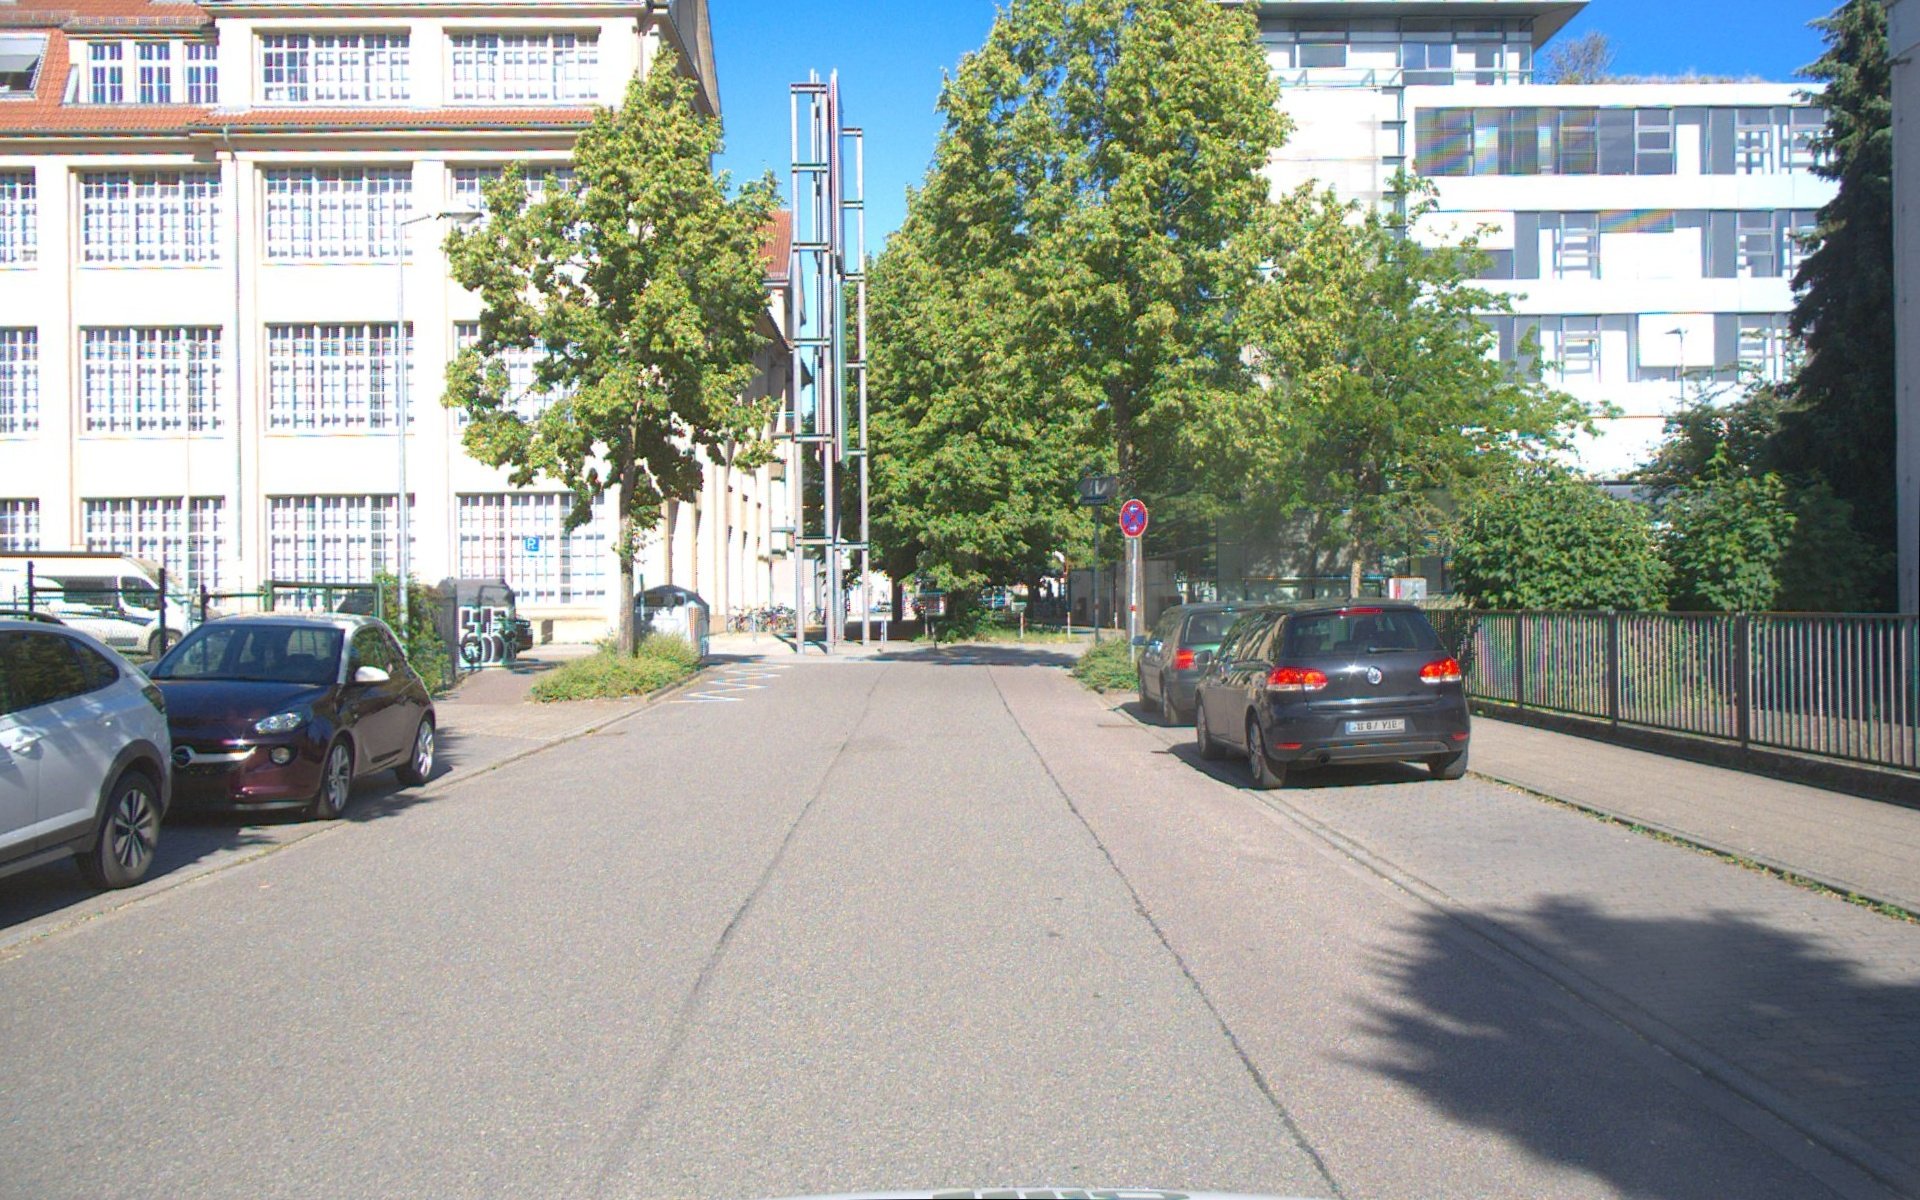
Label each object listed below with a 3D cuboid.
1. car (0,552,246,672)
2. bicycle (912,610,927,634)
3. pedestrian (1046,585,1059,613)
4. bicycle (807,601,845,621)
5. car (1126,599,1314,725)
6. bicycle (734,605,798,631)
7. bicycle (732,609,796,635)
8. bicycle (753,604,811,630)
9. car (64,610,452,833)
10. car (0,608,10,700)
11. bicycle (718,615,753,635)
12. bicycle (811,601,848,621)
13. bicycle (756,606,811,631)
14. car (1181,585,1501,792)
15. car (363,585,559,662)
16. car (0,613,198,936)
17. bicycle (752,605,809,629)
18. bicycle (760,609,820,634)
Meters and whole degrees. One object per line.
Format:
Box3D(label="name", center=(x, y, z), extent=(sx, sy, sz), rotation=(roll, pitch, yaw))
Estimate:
Box3D(label="car", center=(-20.268, 0.283, 38.684), extent=(6.137, 2.642, 2.164), rotation=(-1, 0, -3))
Box3D(label="bicycle", center=(-2.112, 1.121, 86.024), extent=(0.607, 1.218, 2.129), rotation=(-1, 0, -6))
Box3D(label="pedestrian", center=(5.277, -0.063, 94.546), extent=(0.701, 1.577, 0.690), rotation=(-1, 0, 5))
Box3D(label="bicycle", center=(-7.400, 0.608, 91.499), extent=(2.015, 1.085, 0.507), rotation=(-1, 0, 1))
Box3D(label="car", center=(3.234, 0.748, 21.376), extent=(1.711, 1.447, 4.423), rotation=(0, -1, 0))
Box3D(label="bicycle", center=(-8.614, 0.799, 73.555), extent=(2.743, 1.081, 0.718), rotation=(-1, 0, -1))
Box3D(label="bicycle", center=(-8.508, 0.953, 71.929), extent=(2.746, 1.081, 0.718), rotation=(-1, 0, -6))
Box3D(label="bicycle", center=(-8.487, 0.812, 78.917), extent=(2.746, 1.171, 0.718), rotation=(-1, 0, -6))
Box3D(label="car", center=(-5.352, 0.847, 13.117), extent=(1.683, 1.500, 3.544), rotation=(1, 0, -3))
Box3D(label="car", center=(-18.179, 0.981, 27.631), extent=(1.952, 1.638, 4.427), rotation=(-1, 0, 2))
Box3D(label="bicycle", center=(-9.370, 1.038, 69.191), extent=(0.761, 0.806, 2.886), rotation=(-1, 0, 7))
Box3D(label="bicycle", center=(-7.274, 0.590, 92.335), extent=(2.015, 1.085, 0.507), rotation=(-1, 0, 1))
Box3D(label="bicycle", center=(-8.629, 0.895, 81.041), extent=(2.678, 1.171, 0.718), rotation=(-1, 0, -6))
Box3D(label="car", center=(3.188, 0.675, 14.676), extent=(1.748, 1.542, 3.998), rotation=(-1, 0, -2))
Box3D(label="car", center=(-11.787, 0.551, 39.259), extent=(4.005, 1.725, 2.000), rotation=(-1, -1, 0))
Box3D(label="car", center=(-5.433, 0.822, 7.853), extent=(1.803, 1.500, 4.001), rotation=(1, 0, -1))
Box3D(label="bicycle", center=(-8.701, 0.820, 80.251), extent=(2.678, 1.171, 0.718), rotation=(-1, 0, -6))
Box3D(label="bicycle", center=(-7.848, 0.997, 76.498), extent=(2.746, 1.081, 0.718), rotation=(-1, 0, -6))
